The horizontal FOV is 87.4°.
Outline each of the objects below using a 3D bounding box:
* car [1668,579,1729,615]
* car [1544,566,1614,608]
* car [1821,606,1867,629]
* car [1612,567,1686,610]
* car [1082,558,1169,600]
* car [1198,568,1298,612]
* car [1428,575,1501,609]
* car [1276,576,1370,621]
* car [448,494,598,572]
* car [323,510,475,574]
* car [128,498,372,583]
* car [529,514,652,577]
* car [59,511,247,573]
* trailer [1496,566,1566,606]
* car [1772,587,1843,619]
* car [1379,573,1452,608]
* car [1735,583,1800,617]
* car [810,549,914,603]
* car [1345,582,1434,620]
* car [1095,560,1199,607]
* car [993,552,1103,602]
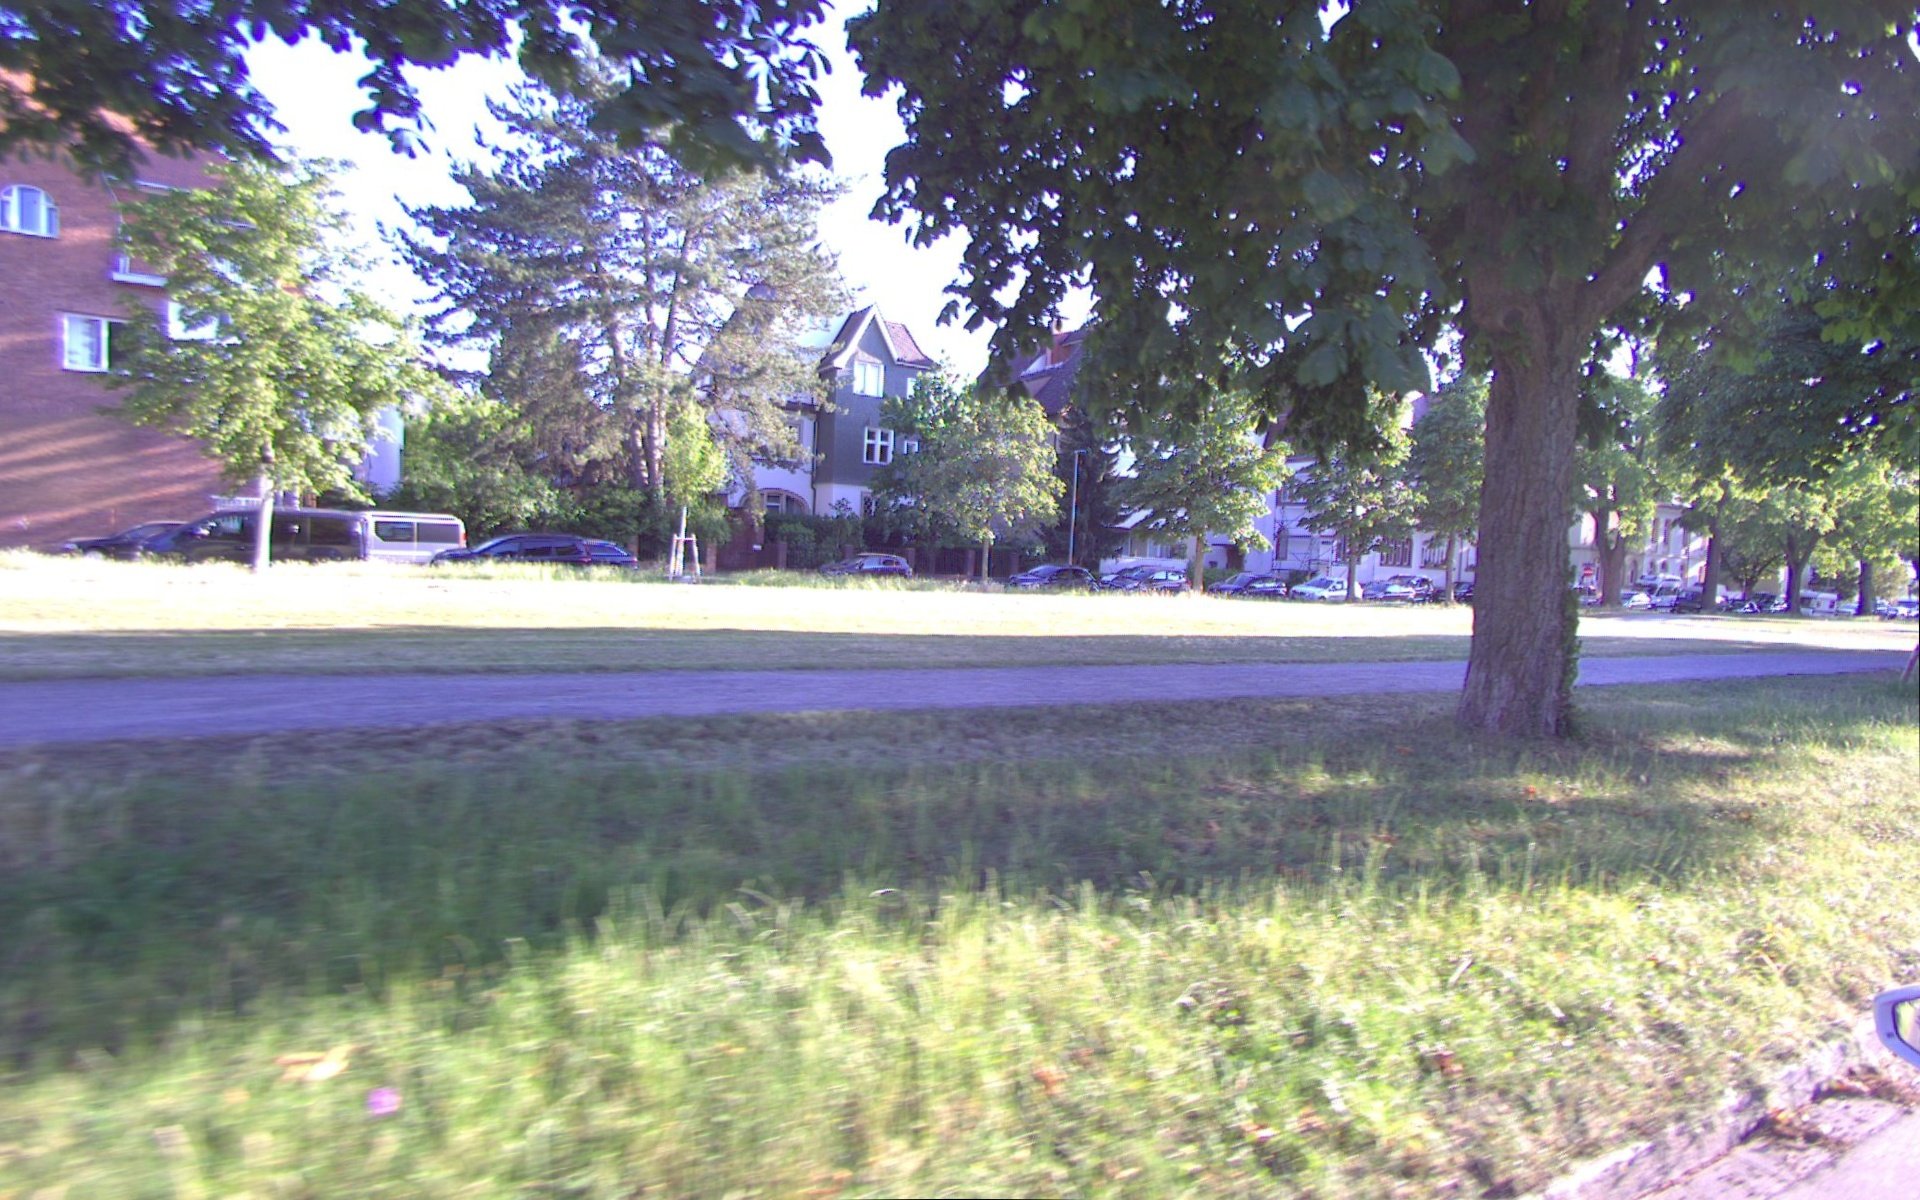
[{"bbox_3d":[50.955,-0.219,69.299,4.263,2.205,1.676,2,3,-30],"label":"car"},{"bbox_3d":[44.479,-0.920,72.141,5.126,2.708,1.984,2,3,-30],"label":"car"},{"bbox_3d":[85.652,1.709,97.323,4.433,2.040,1.983,3,0,-31],"label":"car"},{"bbox_3d":[53.332,-0.878,77.692,5.751,2.961,2.425,3,0,-31],"label":"car"},{"bbox_3d":[8.411,-1.059,50.975,3.957,1.807,1.982,2,3,-33],"label":"car"},{"bbox_3d":[13.353,-0.466,46.612,4.204,1.744,1.984,3,3,-29],"label":"car"},{"bbox_3d":[32.971,-0.511,65.584,4.698,1.979,1.982,2,3,-32],"label":"car"},{"bbox_3d":[17.880,-0.064,49.436,4.204,1.885,1.984,3,3,-29],"label":"car"},{"bbox_3d":[-13.311,-2.030,30.594,3.953,2.041,1.983,2,3,-30],"label":"car"},{"bbox_3d":[-18.820,-1.930,33.845,4.356,1.862,1.807,1,3,-30],"label":"car"},{"bbox_3d":[-19.021,-1.574,27.263,5.183,1.967,1.984,1,3,-30],"label":"car"},{"bbox_3d":[-13.651,-2.022,37.111,3.952,2.041,1.984,2,3,-29],"label":"car"},{"bbox_3d":[-24.693,-1.762,30.931,4.254,1.645,1.748,1,3,-30],"label":"car"},{"bbox_3d":[39.214,-0.961,68.973,4.669,2.460,1.984,2,3,-30],"label":"trailer"},{"bbox_3d":[66.403,0.218,78.696,5.395,2.266,2.522,1,3,-30],"label":"car"},{"bbox_3d":[28.557,-0.579,62.916,4.448,1.901,1.981,2,3,-33],"label":"car"},{"bbox_3d":[60.240,0.006,74.899,5.127,2.280,1.983,2,3,-31],"label":"car"},{"bbox_3d":[-4.234,-1.040,43.217,3.948,2.041,1.986,2,3,-27],"label":"car"},{"bbox_3d":[22.171,0.066,51.827,4.204,1.671,1.984,3,3,-29],"label":"car"},{"bbox_3d":[8.075,-0.723,43.275,3.951,1.706,1.985,3,3,-28],"label":"car"},{"bbox_3d":[3.567,-0.935,40.855,3.951,1.706,1.985,3,3,-28],"label":"car"}]
